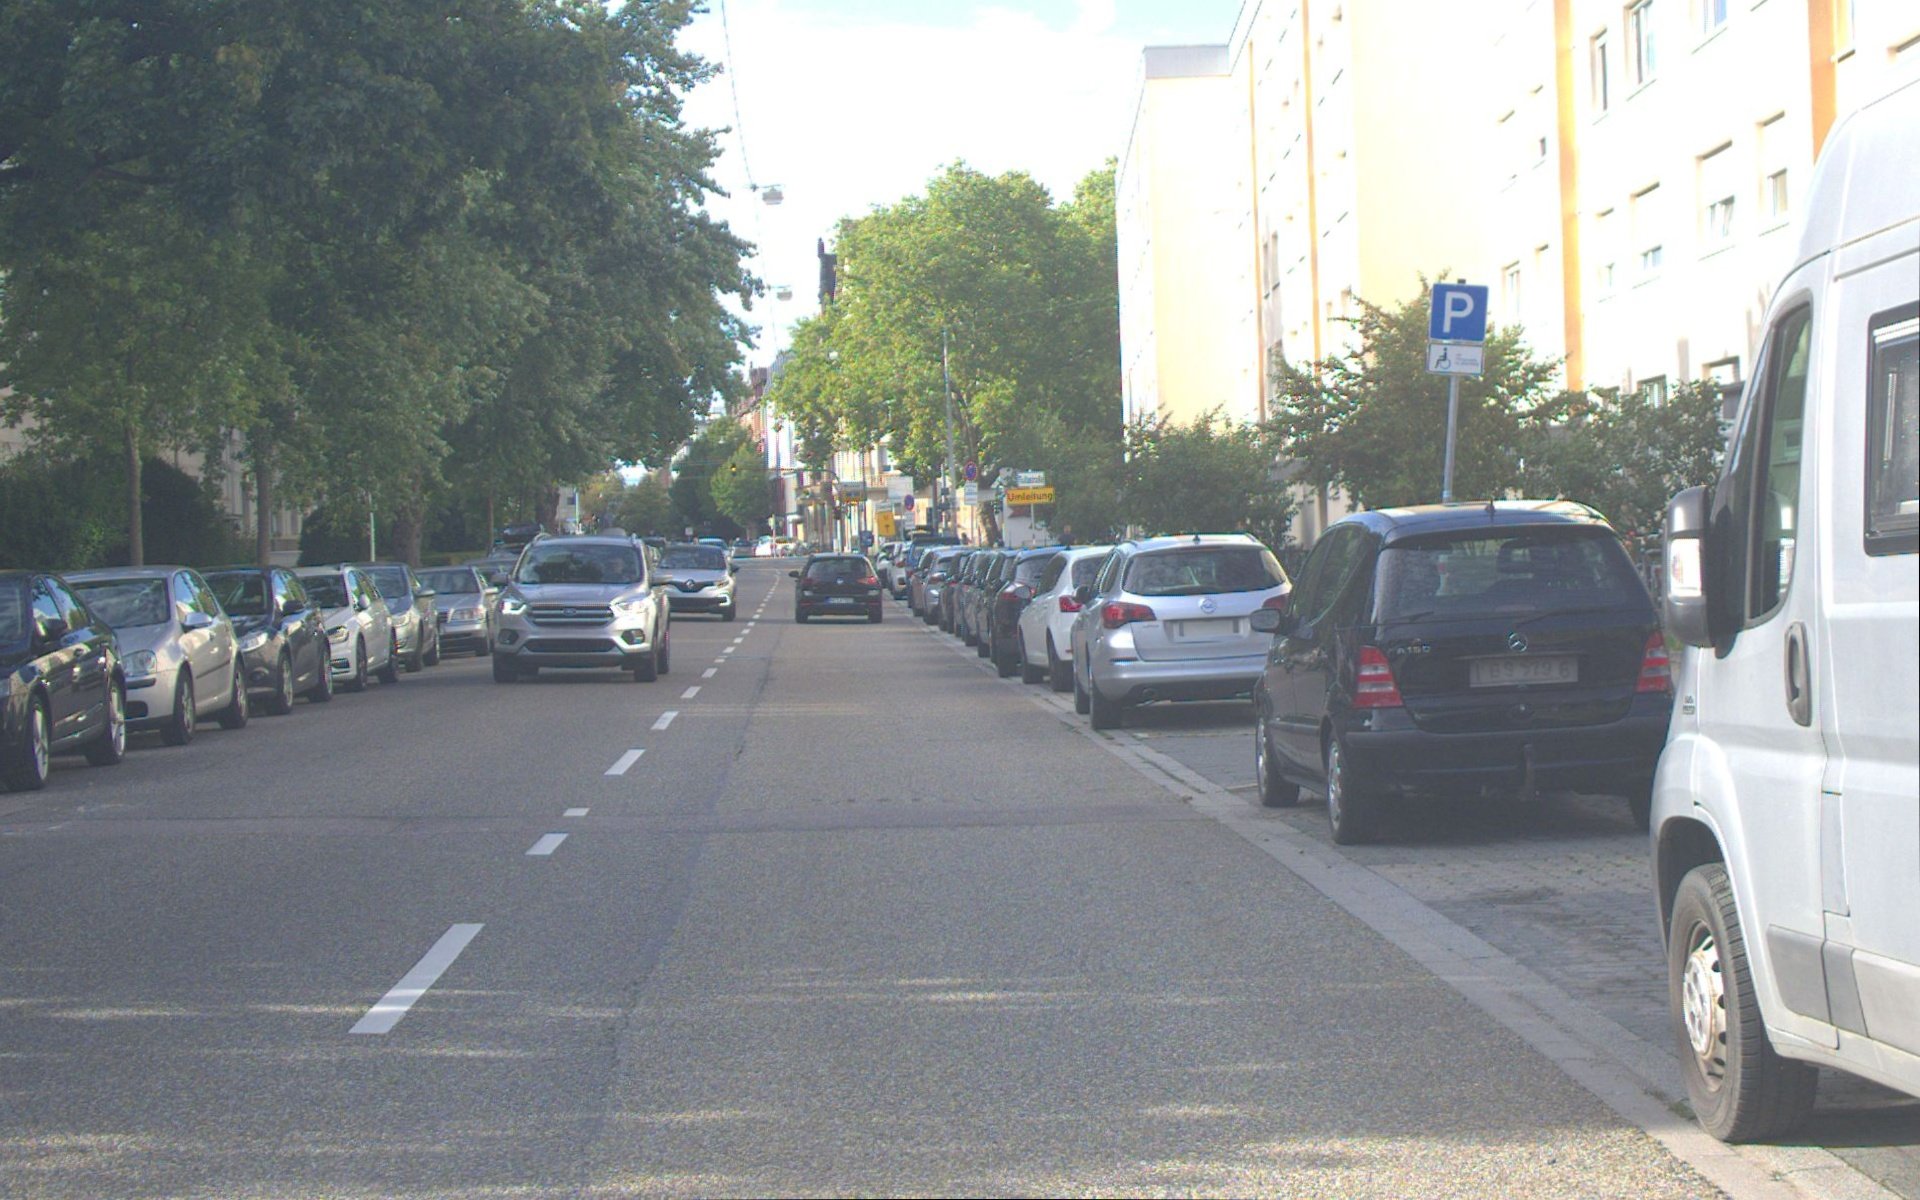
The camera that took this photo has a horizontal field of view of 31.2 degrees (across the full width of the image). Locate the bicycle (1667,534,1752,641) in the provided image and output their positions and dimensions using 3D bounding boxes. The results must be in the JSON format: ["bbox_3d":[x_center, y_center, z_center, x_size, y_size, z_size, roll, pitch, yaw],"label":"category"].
[{"bbox_3d":[8.858,-0.134,40.680,0.521,1.211,1.591,-3,-1,-3],"label":"bicycle"}]

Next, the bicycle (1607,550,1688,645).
[{"bbox_3d":[8.138,-0.017,40.748,0.521,1.070,1.591,-3,-1,-3],"label":"bicycle"}]

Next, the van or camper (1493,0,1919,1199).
[{"bbox_3d":[2.789,0.021,6.681,2.159,2.518,5.915,-4,1,-3],"label":"van or camper"}]

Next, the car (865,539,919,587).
[{"bbox_3d":[-2.259,-1.249,114.714,1.690,1.523,4.238,-1,1,0],"label":"car"}]

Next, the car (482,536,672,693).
[{"bbox_3d":[-4.369,0.135,39.749,1.829,1.663,4.085,-2,1,-2],"label":"car"}]

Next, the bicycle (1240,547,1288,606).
[{"bbox_3d":[6.875,-0.541,77.843,0.726,1.286,2.635,-2,1,-2],"label":"bicycle"}]

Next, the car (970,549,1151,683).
[{"bbox_3d":[1.138,0.149,40.771,1.683,1.430,4.207,-3,1,-4],"label":"car"}]

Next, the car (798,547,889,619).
[{"bbox_3d":[-2.427,-0.373,70.832,1.751,1.409,4.001,-1,1,-3],"label":"car"}]

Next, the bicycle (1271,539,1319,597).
[{"bbox_3d":[7.580,-0.737,77.928,0.726,1.286,2.635,-1,1,-2],"label":"bicycle"}]

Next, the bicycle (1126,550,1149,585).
[{"bbox_3d":[5.936,-1.098,115.264,0.529,1.111,2.209,-3,1,-2],"label":"bicycle"}]

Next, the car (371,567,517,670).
[{"bbox_3d":[-7.990,0.259,53.560,1.738,1.388,4.666,-4,1,-3],"label":"car"}]

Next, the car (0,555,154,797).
[{"bbox_3d":[-6.870,0.496,23.425,1.927,1.481,4.421,-4,1,-4],"label":"car"}]

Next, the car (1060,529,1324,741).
[{"bbox_3d":[1.806,0.227,28.016,1.763,1.518,4.330,-2,1,0],"label":"car"}]

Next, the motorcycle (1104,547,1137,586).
[{"bbox_3d":[4.474,-0.941,95.888,0.630,1.041,2.394,-2,1,-3],"label":"motorcycle"}]

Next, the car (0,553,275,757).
[{"bbox_3d":[-7.050,0.406,28.783,1.820,1.481,4.369,-4,1,-2],"label":"car"}]

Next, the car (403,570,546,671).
[{"bbox_3d":[-8.270,0.321,58.966,1.855,1.481,4.945,-5,1,-2],"label":"car"}]

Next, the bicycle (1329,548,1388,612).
[{"bbox_3d":[6.816,-0.343,58.856,0.593,1.027,2.119,-4,1,-3],"label":"bicycle"}]

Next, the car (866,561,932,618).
[{"bbox_3d":[-1.668,-0.296,94.283,1.728,1.482,4.642,-1,1,-1],"label":"car"}]

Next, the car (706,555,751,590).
[{"bbox_3d":[-10.813,-1.300,160.773,1.859,1.523,4.011,-1,1,-1],"label":"car"}]

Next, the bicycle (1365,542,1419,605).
[{"bbox_3d":[7.399,-0.458,58.981,0.501,1.027,2.096,-4,1,-3],"label":"bicycle"}]

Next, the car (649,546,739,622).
[{"bbox_3d":[-5.547,-0.348,72.055,1.740,1.496,4.010,-2,1,-3],"label":"car"}]

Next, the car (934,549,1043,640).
[{"bbox_3d":[0.481,-0.113,61.640,1.661,1.486,3.942,-3,1,-3],"label":"car"}]

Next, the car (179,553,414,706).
[{"bbox_3d":[-7.555,0.287,39.587,1.855,1.481,4.799,-5,1,-2],"label":"car"}]

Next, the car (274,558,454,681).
[{"bbox_3d":[-8.038,0.223,46.731,1.855,1.481,4.684,-3,1,-4],"label":"car"}]

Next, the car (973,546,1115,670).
[{"bbox_3d":[1.066,0.068,45.274,1.683,1.496,3.874,-2,1,0],"label":"car"}]

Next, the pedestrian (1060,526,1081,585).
[{"bbox_3d":[3.256,-1.322,101.346,0.542,1.715,0.771,-2,1,3],"label":"pedestrian"}]

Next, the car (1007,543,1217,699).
[{"bbox_3d":[1.520,0.175,35.855,1.683,1.463,4.207,-2,1,-4],"label":"car"}]

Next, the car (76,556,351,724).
[{"bbox_3d":[-7.333,0.339,34.204,1.855,1.481,4.684,-2,1,-2],"label":"car"}]

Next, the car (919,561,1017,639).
[{"bbox_3d":[0.126,-0.027,67.877,1.661,1.411,4.059,-3,1,-3],"label":"car"}]

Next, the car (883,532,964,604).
[{"bbox_3d":[-0.924,-0.785,83.824,1.728,1.644,4.117,-2,1,-3],"label":"car"}]

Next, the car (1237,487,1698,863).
[{"bbox_3d":[2.458,0.303,17.546,1.673,1.597,3.970,-4,1,0],"label":"car"}]

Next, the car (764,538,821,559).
[{"bbox_3d":[-12.432,-3.825,255.378,3.986,1.415,2.001,-2,1,-9],"label":"car"}]
